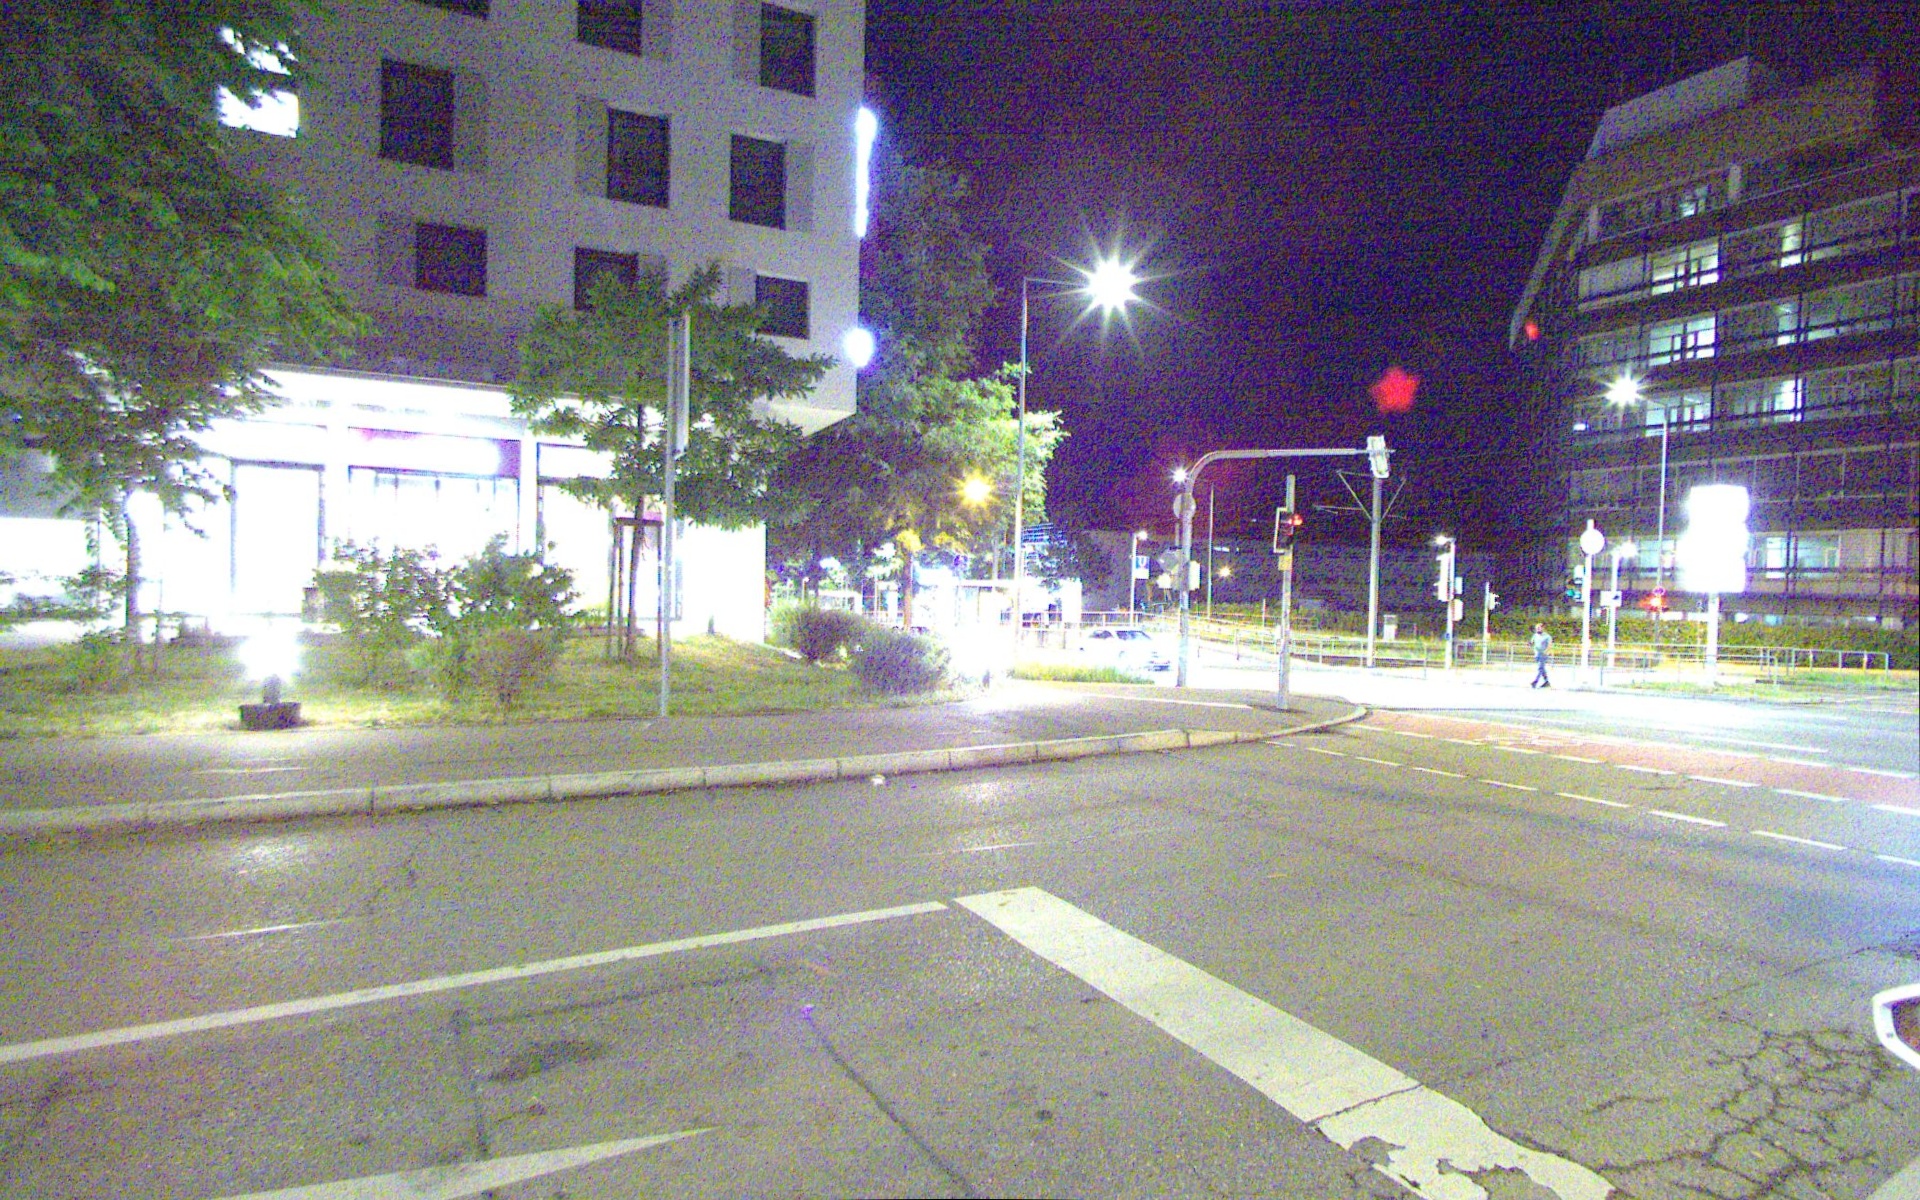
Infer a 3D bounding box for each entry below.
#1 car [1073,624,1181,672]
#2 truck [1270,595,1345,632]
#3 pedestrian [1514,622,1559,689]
[{"bbox_3d":[5.729,1.619,35.011,1.793,1.522,4.177,0,-1,-23],"label":"car"},{"bbox_3d":[30.924,1.177,89.639,2.877,3.129,5.873,2,0,-28],"label":"truck"},{"bbox_3d":[14.737,1.400,25.681,0.854,1.656,0.665,2,0,-34],"label":"pedestrian"}]
